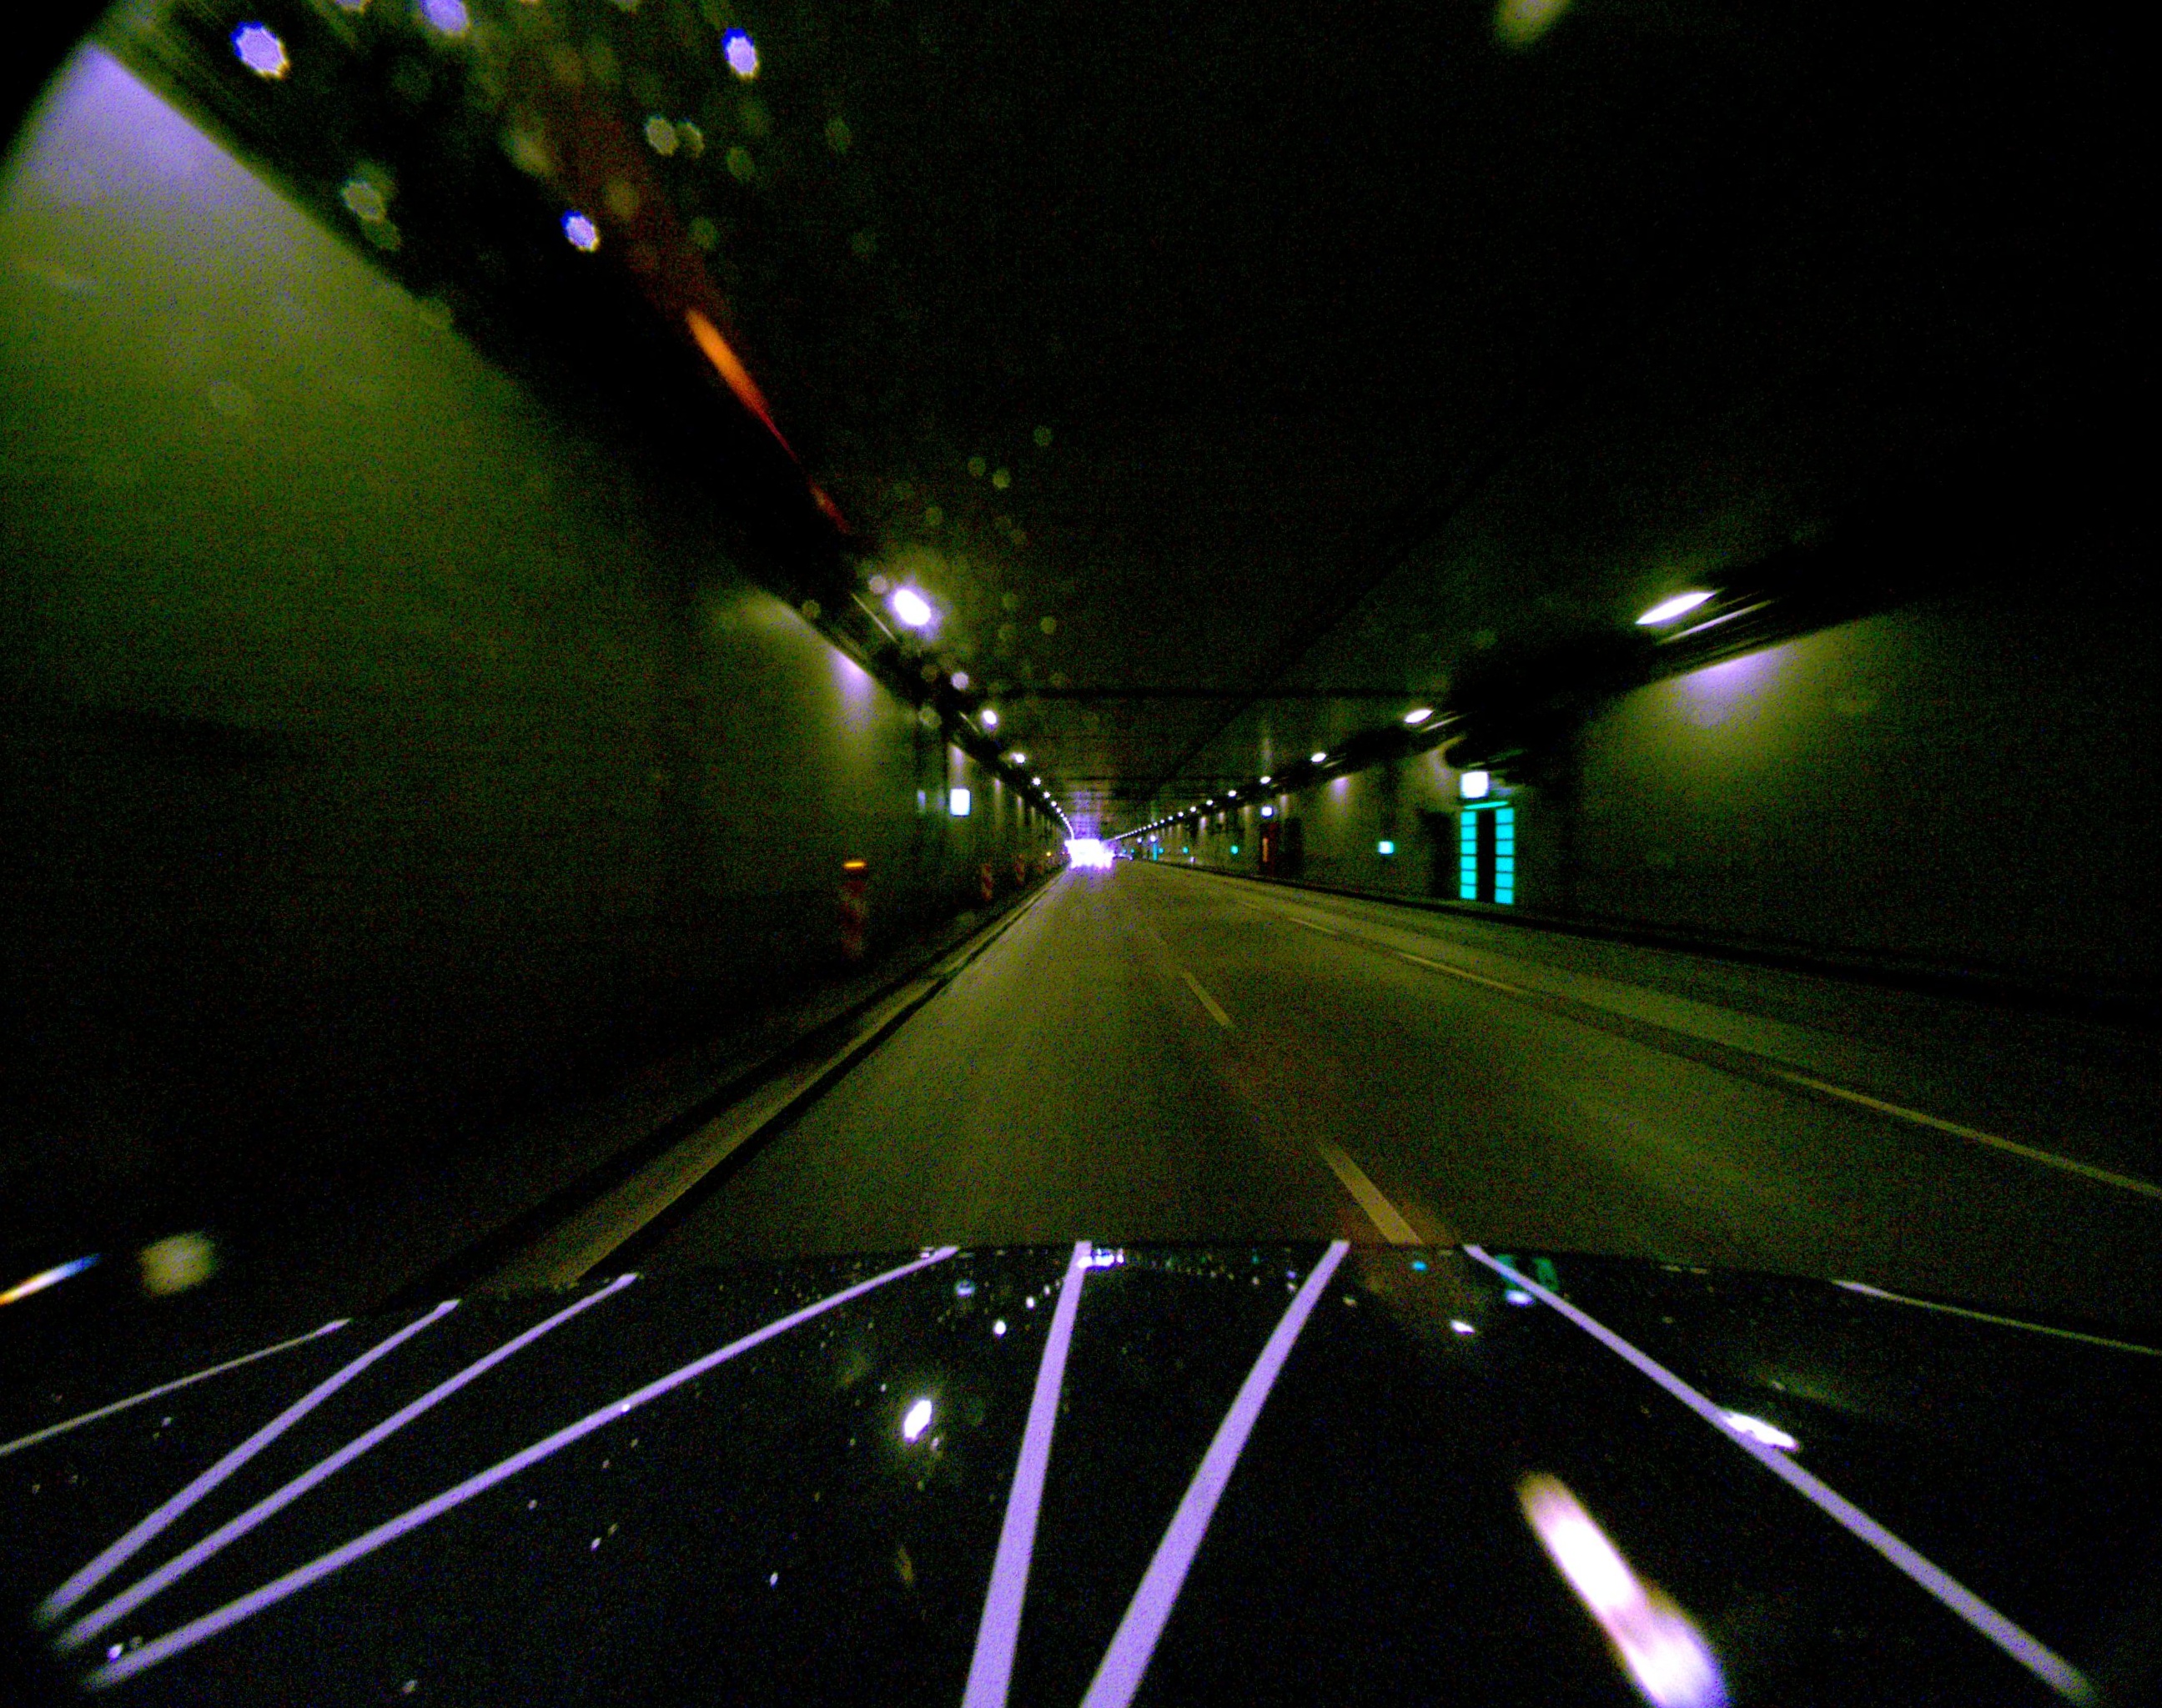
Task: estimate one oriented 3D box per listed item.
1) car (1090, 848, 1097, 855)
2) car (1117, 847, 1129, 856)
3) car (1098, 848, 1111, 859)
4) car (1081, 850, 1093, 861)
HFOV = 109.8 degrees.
[{"bbox_3d":[3.468,-0.712,212.594,1.998,1.756,4.000,-3,1,1],"label":"car"},{"bbox_3d":[7.761,-0.482,141.585,1.998,1.685,4.000,-2,0,1],"label":"car"},{"bbox_3d":[3.817,-0.138,124.100,1.998,1.686,4.000,-2,0,3],"label":"car"},{"bbox_3d":[1.015,0.270,134.832,1.998,1.686,4.000,-3,1,1],"label":"car"}]
